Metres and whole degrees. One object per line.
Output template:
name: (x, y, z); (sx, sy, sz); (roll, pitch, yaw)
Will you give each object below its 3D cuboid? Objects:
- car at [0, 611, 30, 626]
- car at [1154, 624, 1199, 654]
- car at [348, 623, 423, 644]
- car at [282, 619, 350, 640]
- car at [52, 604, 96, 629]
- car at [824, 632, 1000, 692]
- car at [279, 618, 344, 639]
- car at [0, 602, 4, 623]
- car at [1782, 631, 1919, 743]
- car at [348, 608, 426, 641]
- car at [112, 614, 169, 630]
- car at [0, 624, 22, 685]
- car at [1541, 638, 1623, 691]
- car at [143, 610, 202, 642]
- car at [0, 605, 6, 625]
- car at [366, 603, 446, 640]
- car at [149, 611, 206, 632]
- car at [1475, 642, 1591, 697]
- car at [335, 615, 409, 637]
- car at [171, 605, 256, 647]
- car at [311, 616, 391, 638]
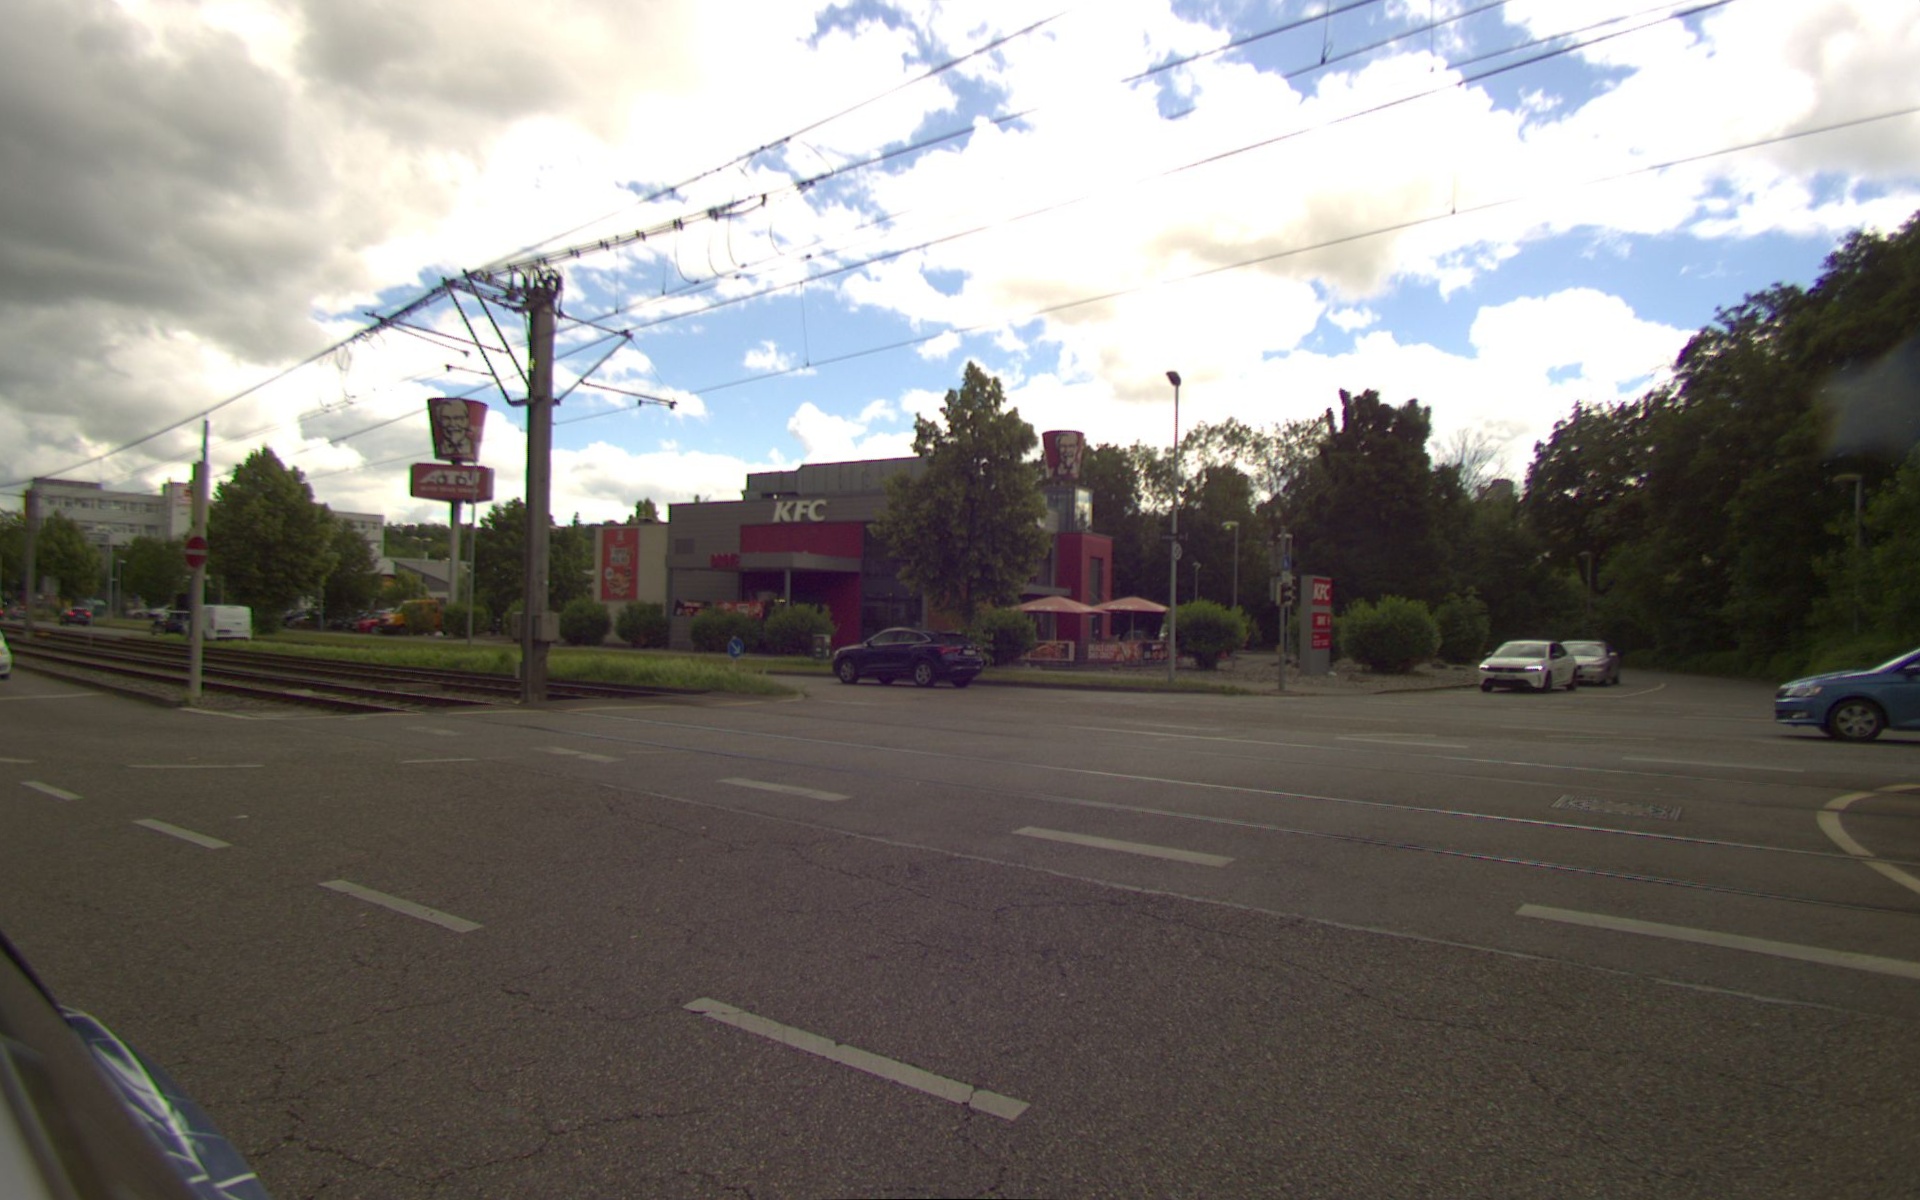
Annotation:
car: (-100.649, 1.926, 107.597); (3.996, 1.494, 1.974); (0, -4, 39)
car: (15.012, 2.676, 69.980); (1.991, 2.029, 3.961); (-1, -2, 29)
car: (-38.553, 2.228, 67.966); (1.998, 1.245, 3.947); (0, 1, 40)
car: (-48.340, 2.195, 76.010); (1.936, 1.432, 3.947); (0, 1, 40)
car: (-75.928, 1.407, 86.717); (4.239, 2.029, 1.975); (0, -2, 36)
car: (-1.341, 1.648, 27.192); (4.498, 1.493, 1.975); (-2, -5, 36)
car: (-51.215, 2.241, 79.958); (1.936, 1.518, 3.947); (0, 1, 40)
car: (-121.550, 1.525, 126.718); (5.994, 2.518, 1.850); (0, -3, 39)
car: (13.715, 1.190, 13.575); (4.044, 1.457, 1.581); (0, -3, 35)
car: (-37.155, 1.552, 65.665); (1.998, 1.932, 3.947); (0, 1, 40)
car: (-87.209, 2.321, 107.724); (2.000, 1.504, 4.550); (0, 1, 43)
car: (-25.258, 1.367, 25.510); (3.995, 1.455, 1.765); (0, 1, 38)
car: (20.223, 2.037, 32.829); (1.844, 1.564, 3.949); (-1, -2, 38)
car: (-51.936, 1.713, 66.746); (4.099, 2.029, 1.975); (0, -2, 36)
car: (-99.303, 1.481, 103.379); (3.992, 2.029, 1.975); (0, -4, 36)
car: (-35.067, 1.314, 64.147); (2.057, 2.182, 3.947); (0, 1, 40)
car: (-79.191, 2.132, 102.443); (2.000, 1.933, 4.298); (0, 1, 43)
car: (16.237, 1.929, 28.625); (3.833, 1.419, 1.849); (3, -3, -44)
car: (-40.513, 1.762, 69.835); (2.092, 1.377, 3.947); (0, 1, 40)
car: (-38.271, 1.320, 51.861); (4.874, 2.029, 1.977); (0, -2, 35)
car: (-42.837, 1.869, 71.261); (2.194, 1.364, 4.330); (0, 1, 40)
